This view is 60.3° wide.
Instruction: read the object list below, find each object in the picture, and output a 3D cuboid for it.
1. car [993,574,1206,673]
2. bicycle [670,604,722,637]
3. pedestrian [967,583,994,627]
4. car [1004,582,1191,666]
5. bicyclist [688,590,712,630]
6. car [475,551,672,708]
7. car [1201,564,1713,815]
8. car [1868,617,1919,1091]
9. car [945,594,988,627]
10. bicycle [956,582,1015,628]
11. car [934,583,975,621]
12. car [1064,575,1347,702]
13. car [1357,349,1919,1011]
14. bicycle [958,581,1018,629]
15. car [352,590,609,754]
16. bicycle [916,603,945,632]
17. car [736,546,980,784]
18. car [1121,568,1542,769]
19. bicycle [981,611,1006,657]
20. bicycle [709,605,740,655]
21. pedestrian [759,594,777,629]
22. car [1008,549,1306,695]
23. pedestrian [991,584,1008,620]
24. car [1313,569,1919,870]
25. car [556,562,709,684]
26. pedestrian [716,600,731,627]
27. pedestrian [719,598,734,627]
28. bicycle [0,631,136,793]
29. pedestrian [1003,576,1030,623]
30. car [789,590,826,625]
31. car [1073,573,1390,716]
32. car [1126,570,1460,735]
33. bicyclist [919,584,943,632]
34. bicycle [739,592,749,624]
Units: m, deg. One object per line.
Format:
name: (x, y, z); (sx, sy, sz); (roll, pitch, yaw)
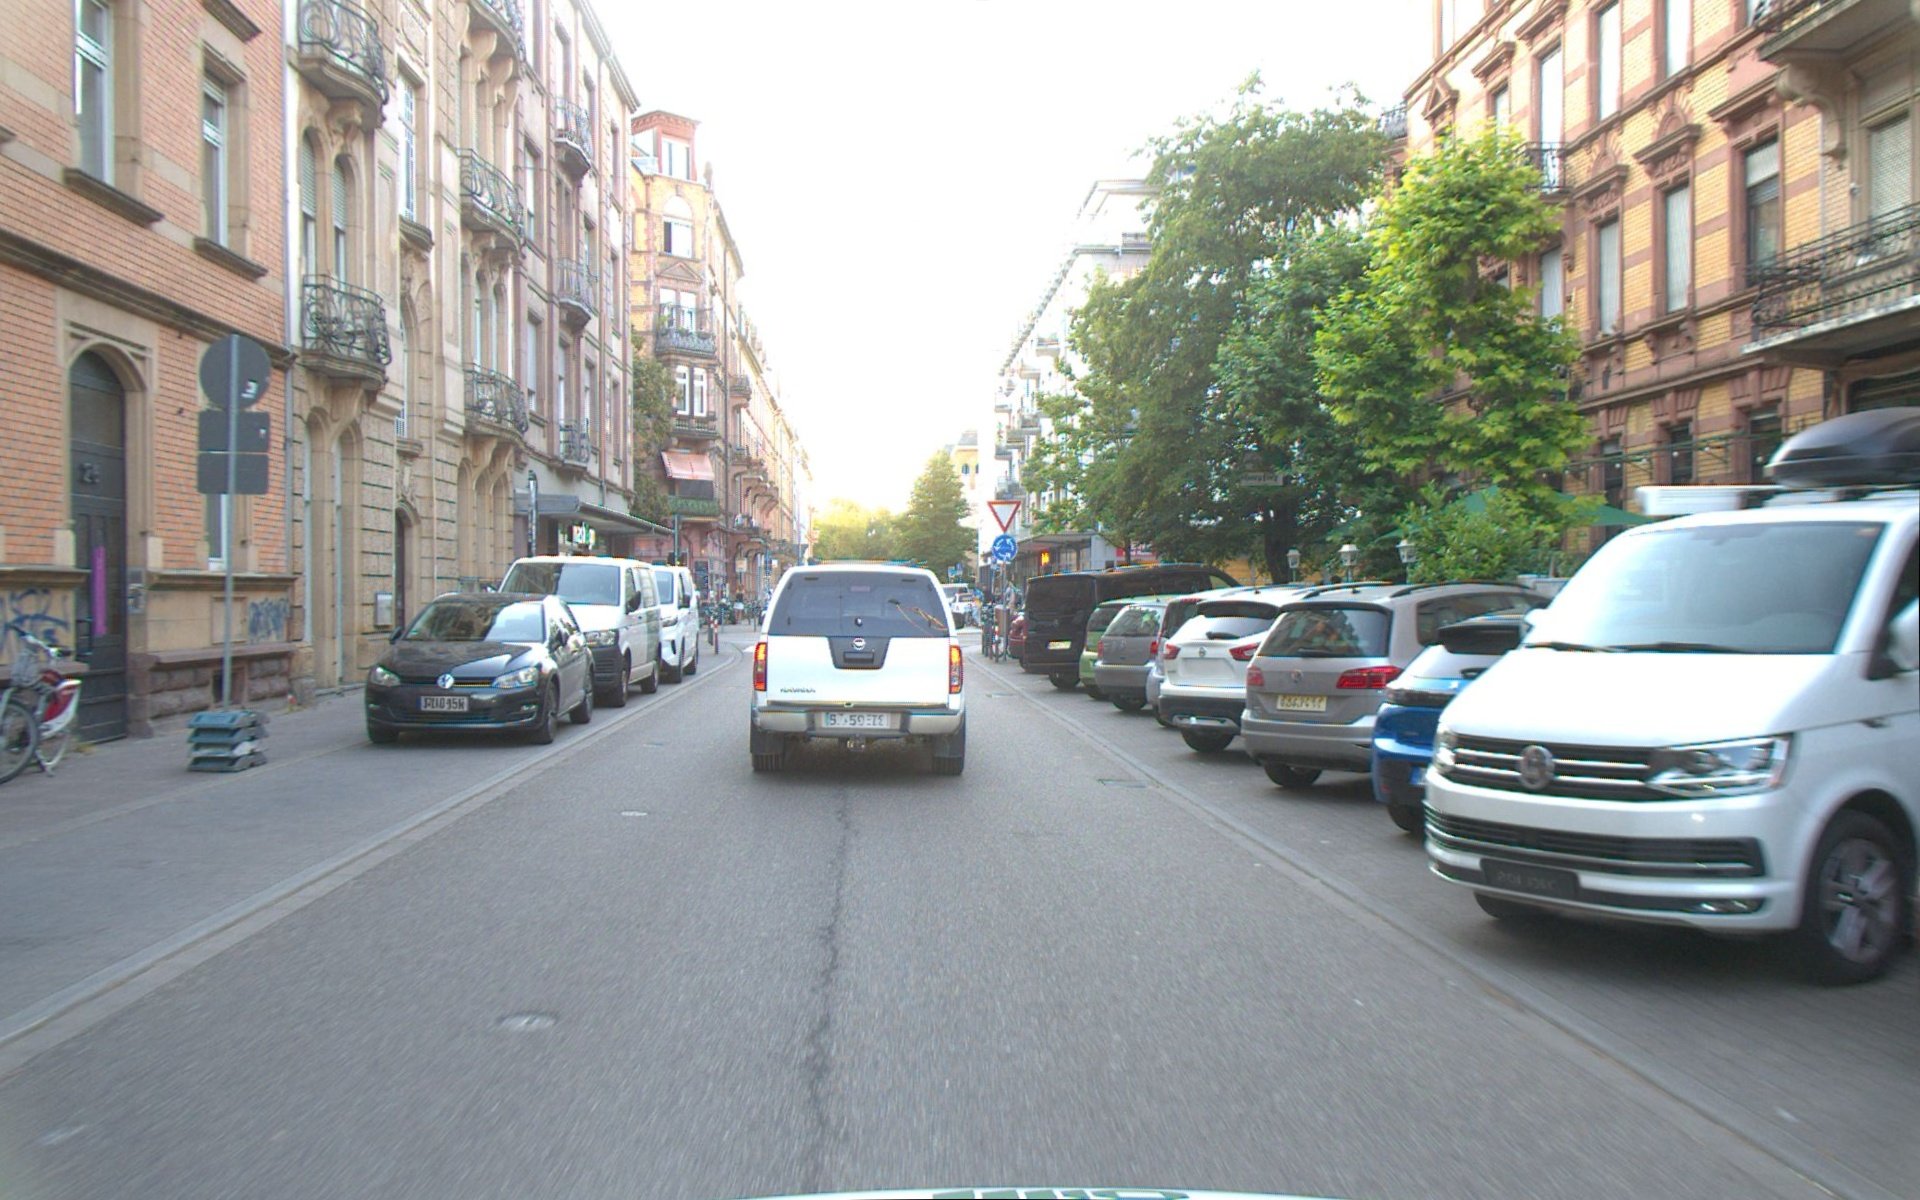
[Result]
car: (2.866, 0.437, 33.370); (4.189, 1.717, 1.904); (-4, 1, -42)
bicycle: (-9.995, 0.782, 62.663); (1.895, 1.192, 0.594); (1, -1, -12)
pedestrian: (0.839, 0.221, 67.658); (0.891, 1.767, 0.611); (1, -1, -24)
car: (3.085, 0.493, 36.725); (4.003, 1.656, 1.672); (-3, 2, -35)
bicyclist: (-9.866, 0.368, 62.708); (0.855, 1.491, 0.574); (1, -1, -12)
car: (-5.242, 0.365, 23.078); (1.800, 1.955, 4.843); (0, 0, -2)
car: (4.158, 0.608, 13.624); (4.118, 1.618, 1.863); (-4, 2, -35)
car: (4.867, 0.724, 5.564); (3.825, 1.433, 1.736); (-1, -1, -37)
car: (0.297, 0.512, 80.970); (1.798, 1.569, 3.996); (1, -1, -4)
bicycle: (1.155, 0.228, 74.354); (2.594, 2.049, 0.637); (1, -1, -3)
car: (-0.323, 0.112, 89.726); (1.904, 1.967, 3.996); (1, -1, -4)
car: (3.725, 0.524, 24.806); (4.062, 1.578, 1.796); (-4, 1, -35)
car: (4.458, 0.245, 8.097); (4.870, 2.403, 1.980); (-1, 0, -30)
bicycle: (1.240, 0.223, 73.544); (2.594, 2.049, 0.637); (1, -1, -3)
car: (-4.840, 0.657, 17.274); (1.801, 1.496, 4.168); (0, 0, -5)
bicycle: (-1.266, 0.728, 69.966); (0.824, 1.192, 1.929); (1, -1, -13)
car: (-0.800, 0.537, 15.574); (1.898, 1.842, 5.000); (1, -1, 0)
car: (3.764, 0.592, 16.523); (4.061, 1.618, 1.797); (-4, 1, -35)
bicycle: (0.806, 0.806, 39.977); (0.357, 1.082, 1.550); (1, -1, -7)
bicycle: (-5.651, 0.708, 39.715); (0.462, 1.162, 1.784); (1, -1, 0)
pedestrian: (-9.147, 0.560, 78.884); (0.782, 1.649, 0.943); (1, -1, -6)
car: (3.454, 0.306, 28.132); (5.391, 2.108, 1.904); (-4, 1, -42)
pedestrian: (1.871, 0.096, 78.271); (0.705, 1.692, 0.702); (1, -1, -3)
car: (4.503, 0.633, 10.978); (4.113, 1.618, 1.865); (-1, 1, -32)
car: (-5.661, 0.364, 29.181); (2.068, 1.955, 5.021); (0, 0, -5)
pedestrian: (-10.629, 0.599, 74.440); (0.636, 1.211, 0.539); (1, -1, -7)
pedestrian: (-10.667, 0.560, 75.626); (0.636, 1.308, 0.539); (1, -1, -7)
bicycle: (-7.076, 0.815, 12.716); (0.736, 1.120, 2.021); (1, -1, -10)
pedestrian: (2.324, -0.010, 67.554); (0.896, 1.918, 0.608); (2, -1, -34)
car: (-7.971, 0.388, 86.742); (1.798, 1.780, 3.996); (1, -1, -4)
car: (3.675, 0.530, 22.120); (4.062, 1.578, 1.796); (-4, 1, -35)
car: (4.045, 0.551, 19.755); (4.074, 1.618, 1.791); (-4, 1, -42)
bicyclist: (-1.230, 0.335, 69.863); (0.824, 1.978, 0.782); (1, -1, -14)
bicycle: (-10.162, 0.373, 77.777); (0.416, 1.468, 1.901); (1, -1, -8)
